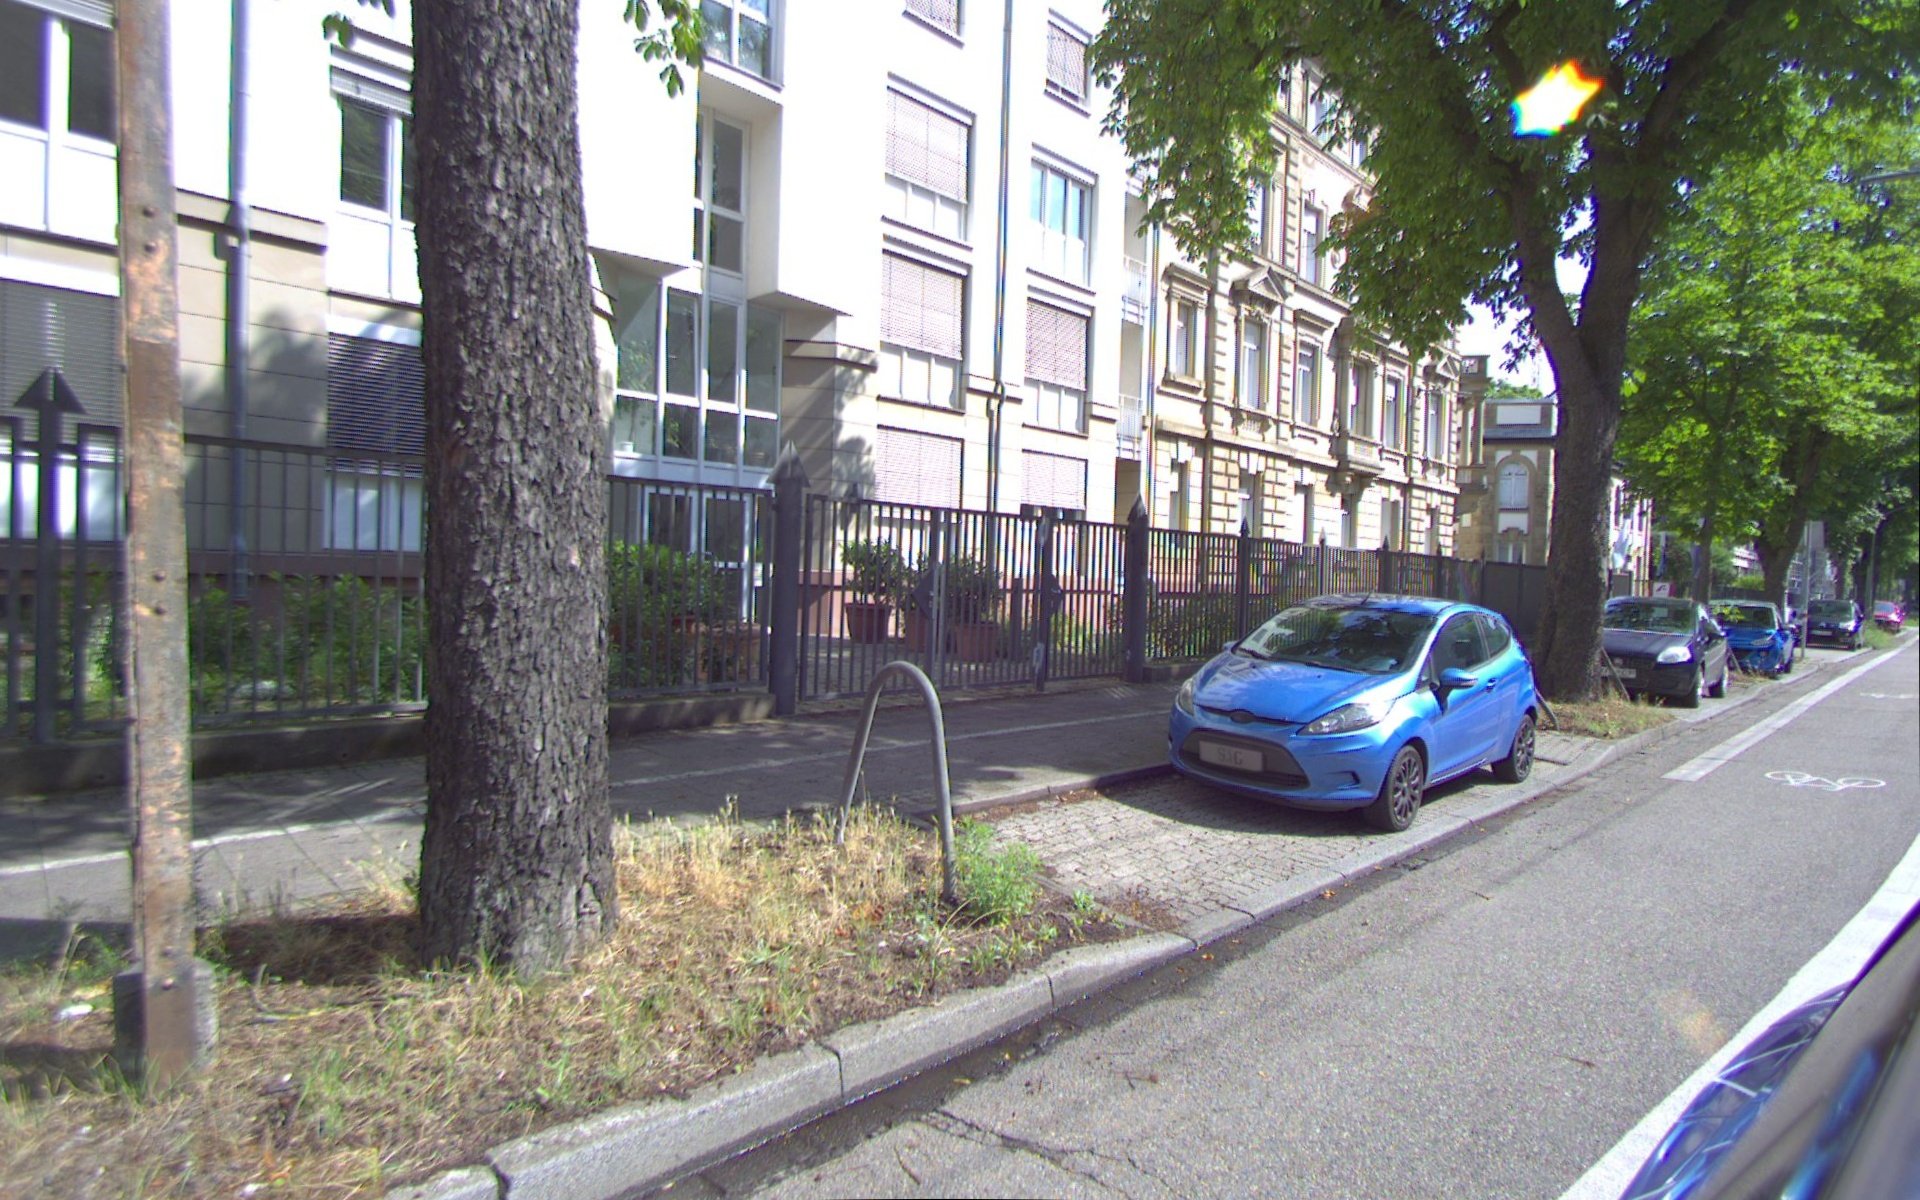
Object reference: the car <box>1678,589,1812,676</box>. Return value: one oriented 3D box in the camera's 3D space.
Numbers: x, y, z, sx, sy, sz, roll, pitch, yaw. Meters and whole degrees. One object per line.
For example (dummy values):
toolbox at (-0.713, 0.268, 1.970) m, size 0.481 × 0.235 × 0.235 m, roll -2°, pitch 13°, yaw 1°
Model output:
car at (16.034, 0.593, 20.616) m, size 1.676 × 1.493 × 3.602 m, roll 7°, pitch 5°, yaw 44°

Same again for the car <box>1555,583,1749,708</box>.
car at (10.277, 0.570, 14.931) m, size 1.676 × 1.493 × 3.602 m, roll 7°, pitch 5°, yaw 44°

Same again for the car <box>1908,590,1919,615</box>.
car at (62.971, 0.204, 65.837) m, size 1.741 × 1.592 × 3.867 m, roll 7°, pitch 5°, yaw 44°

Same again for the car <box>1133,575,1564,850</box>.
car at (3.108, 0.645, 7.741) m, size 3.601 × 1.493 × 1.645 m, roll 0°, pitch 5°, yaw -44°

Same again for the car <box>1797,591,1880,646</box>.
car at (29.072, 0.573, 33.456) m, size 1.741 × 1.592 × 3.602 m, roll 7°, pitch 5°, yaw 44°

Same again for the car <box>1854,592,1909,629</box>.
car at (45.070, 0.478, 49.456) m, size 1.741 × 1.592 × 3.867 m, roll 7°, pitch 5°, yaw 44°
